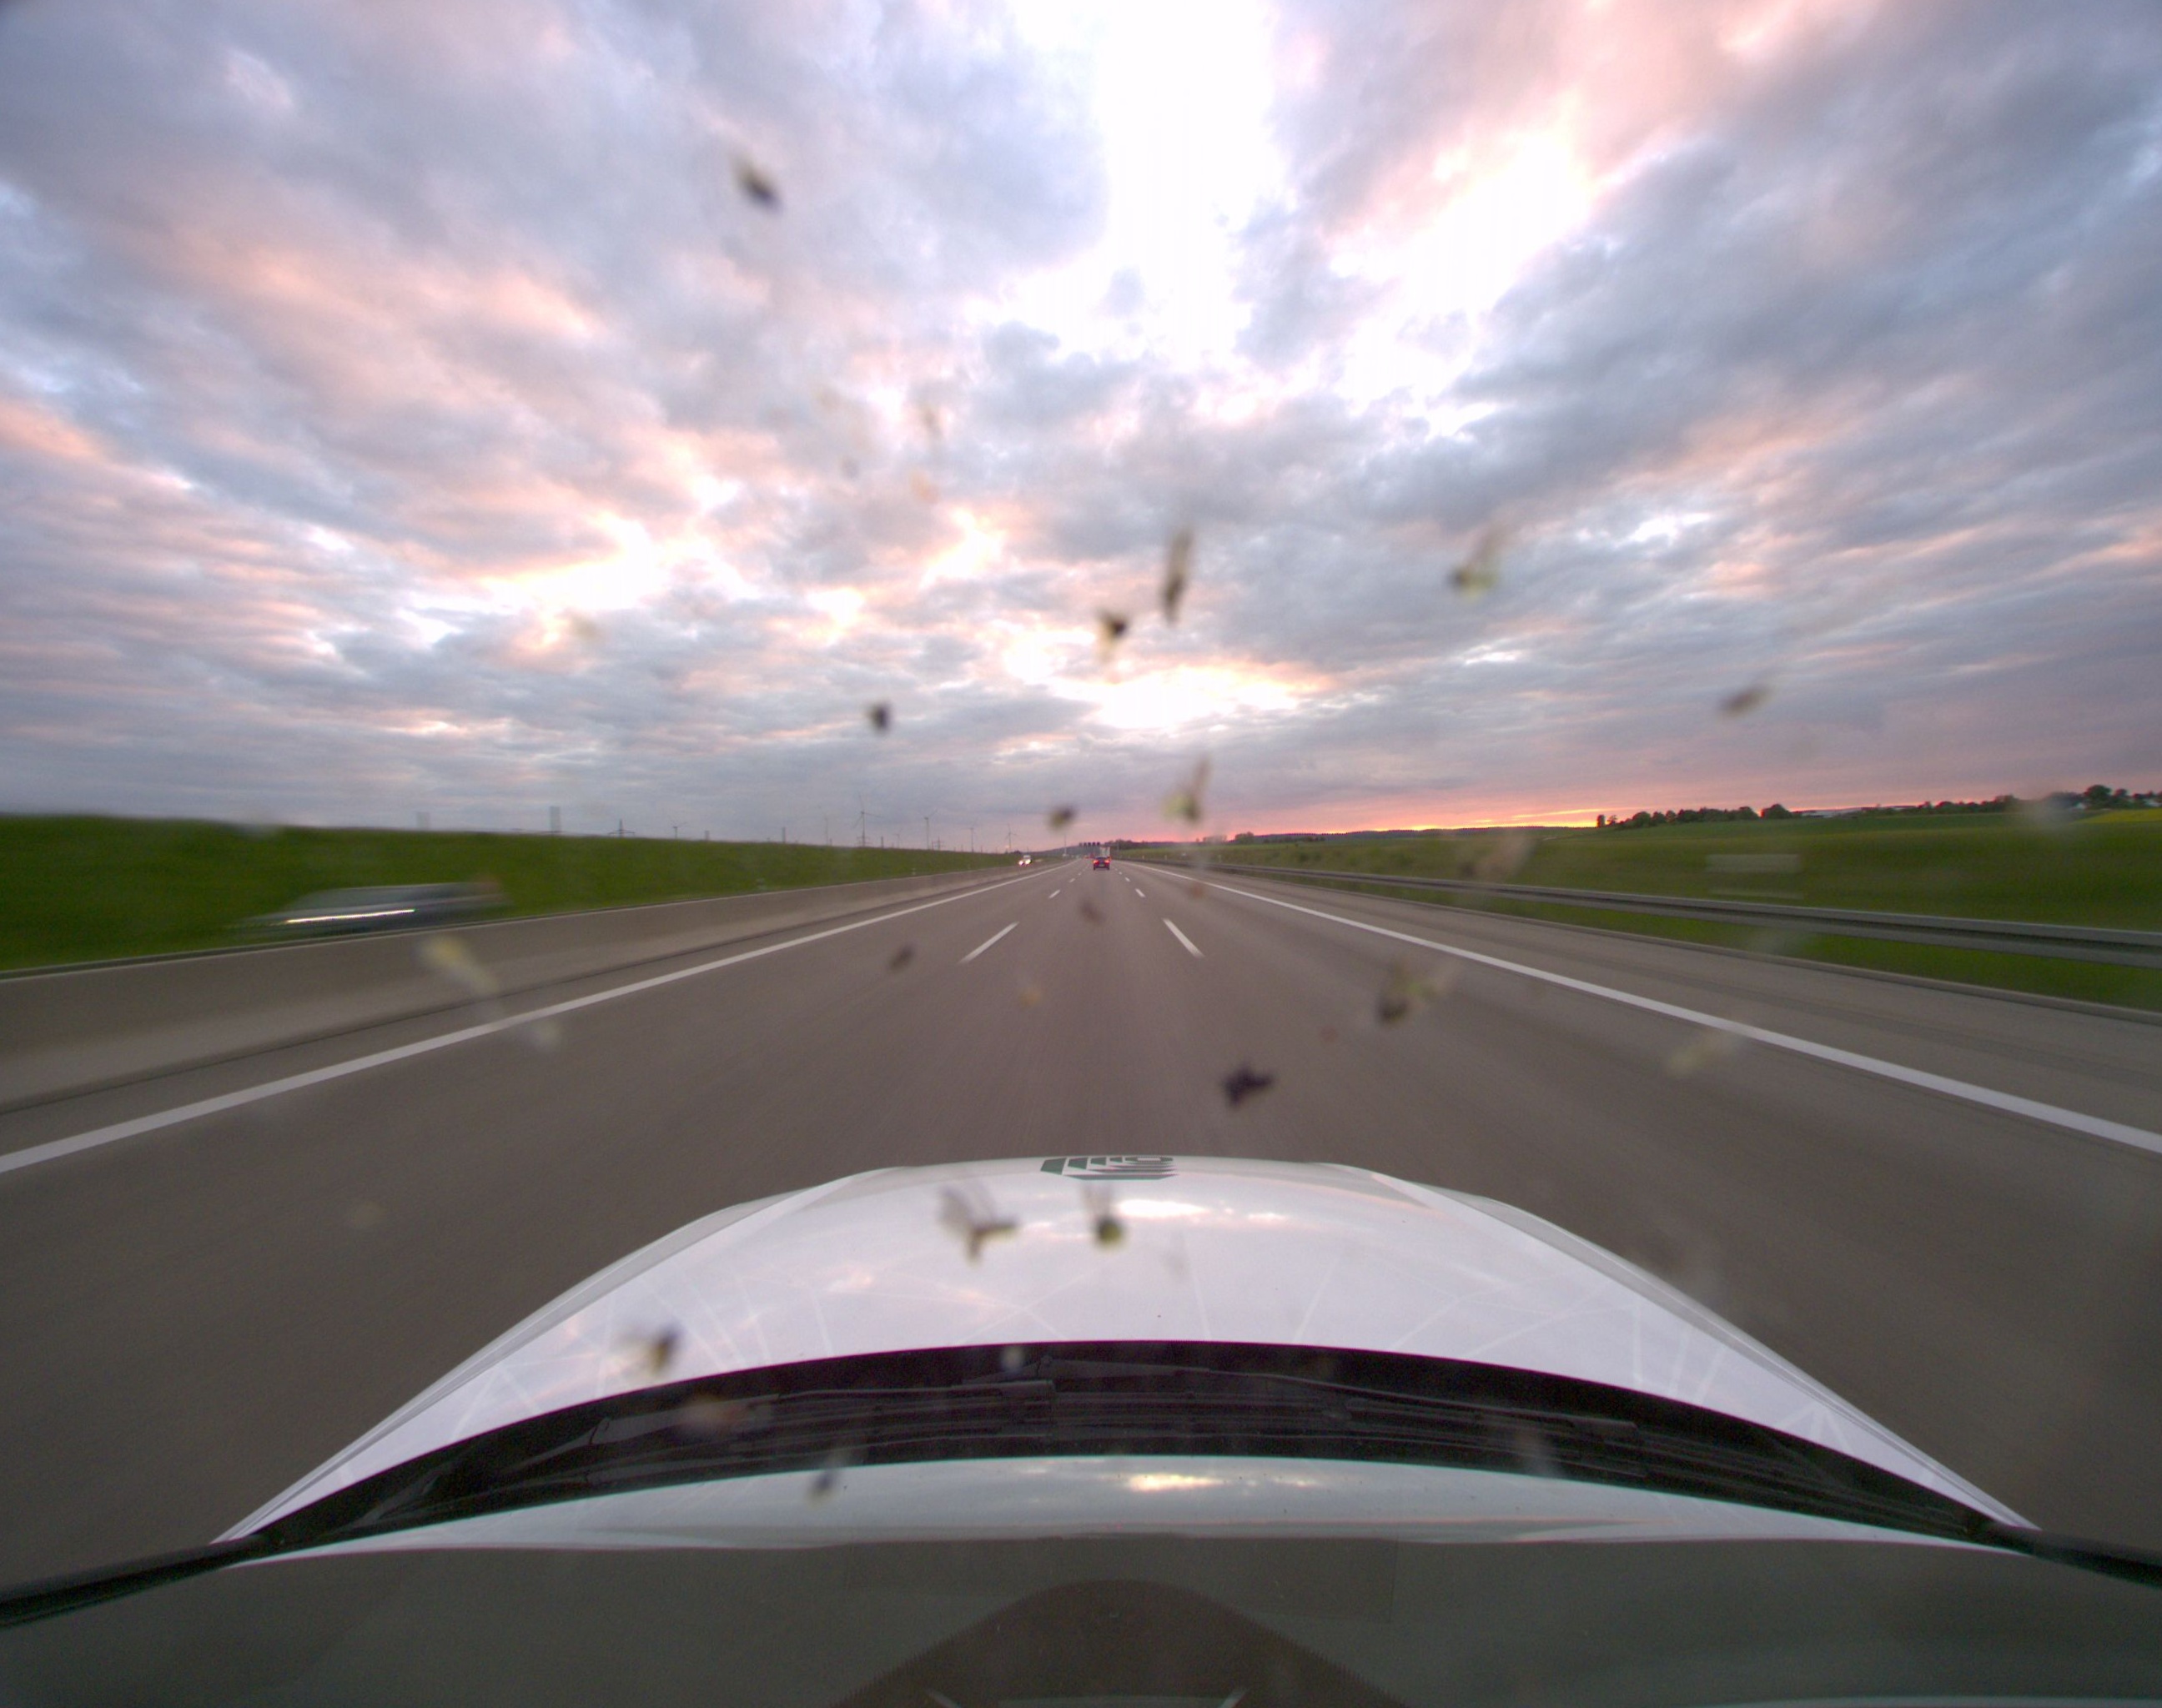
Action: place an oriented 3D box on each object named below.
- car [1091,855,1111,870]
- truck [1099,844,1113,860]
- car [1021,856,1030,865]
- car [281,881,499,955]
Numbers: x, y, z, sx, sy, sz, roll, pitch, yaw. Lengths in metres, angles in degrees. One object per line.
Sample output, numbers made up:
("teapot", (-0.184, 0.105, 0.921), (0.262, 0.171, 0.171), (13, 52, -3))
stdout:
("car", (2.184, 0.871, 87.328), (1.979, 1.429, 4.003), (-3, 0, 3))
("truck", (7.431, -0.595, 239.744), (3.663, 4.564, 10.980), (-2, 0, 0))
("car", (-16.591, 2.004, 242.841), (1.986, 2.546, 7.379), (-2, 0, 1))
("car", (-18.399, 1.623, 22.044), (1.855, 1.553, 4.582), (-3, 0, 1))
